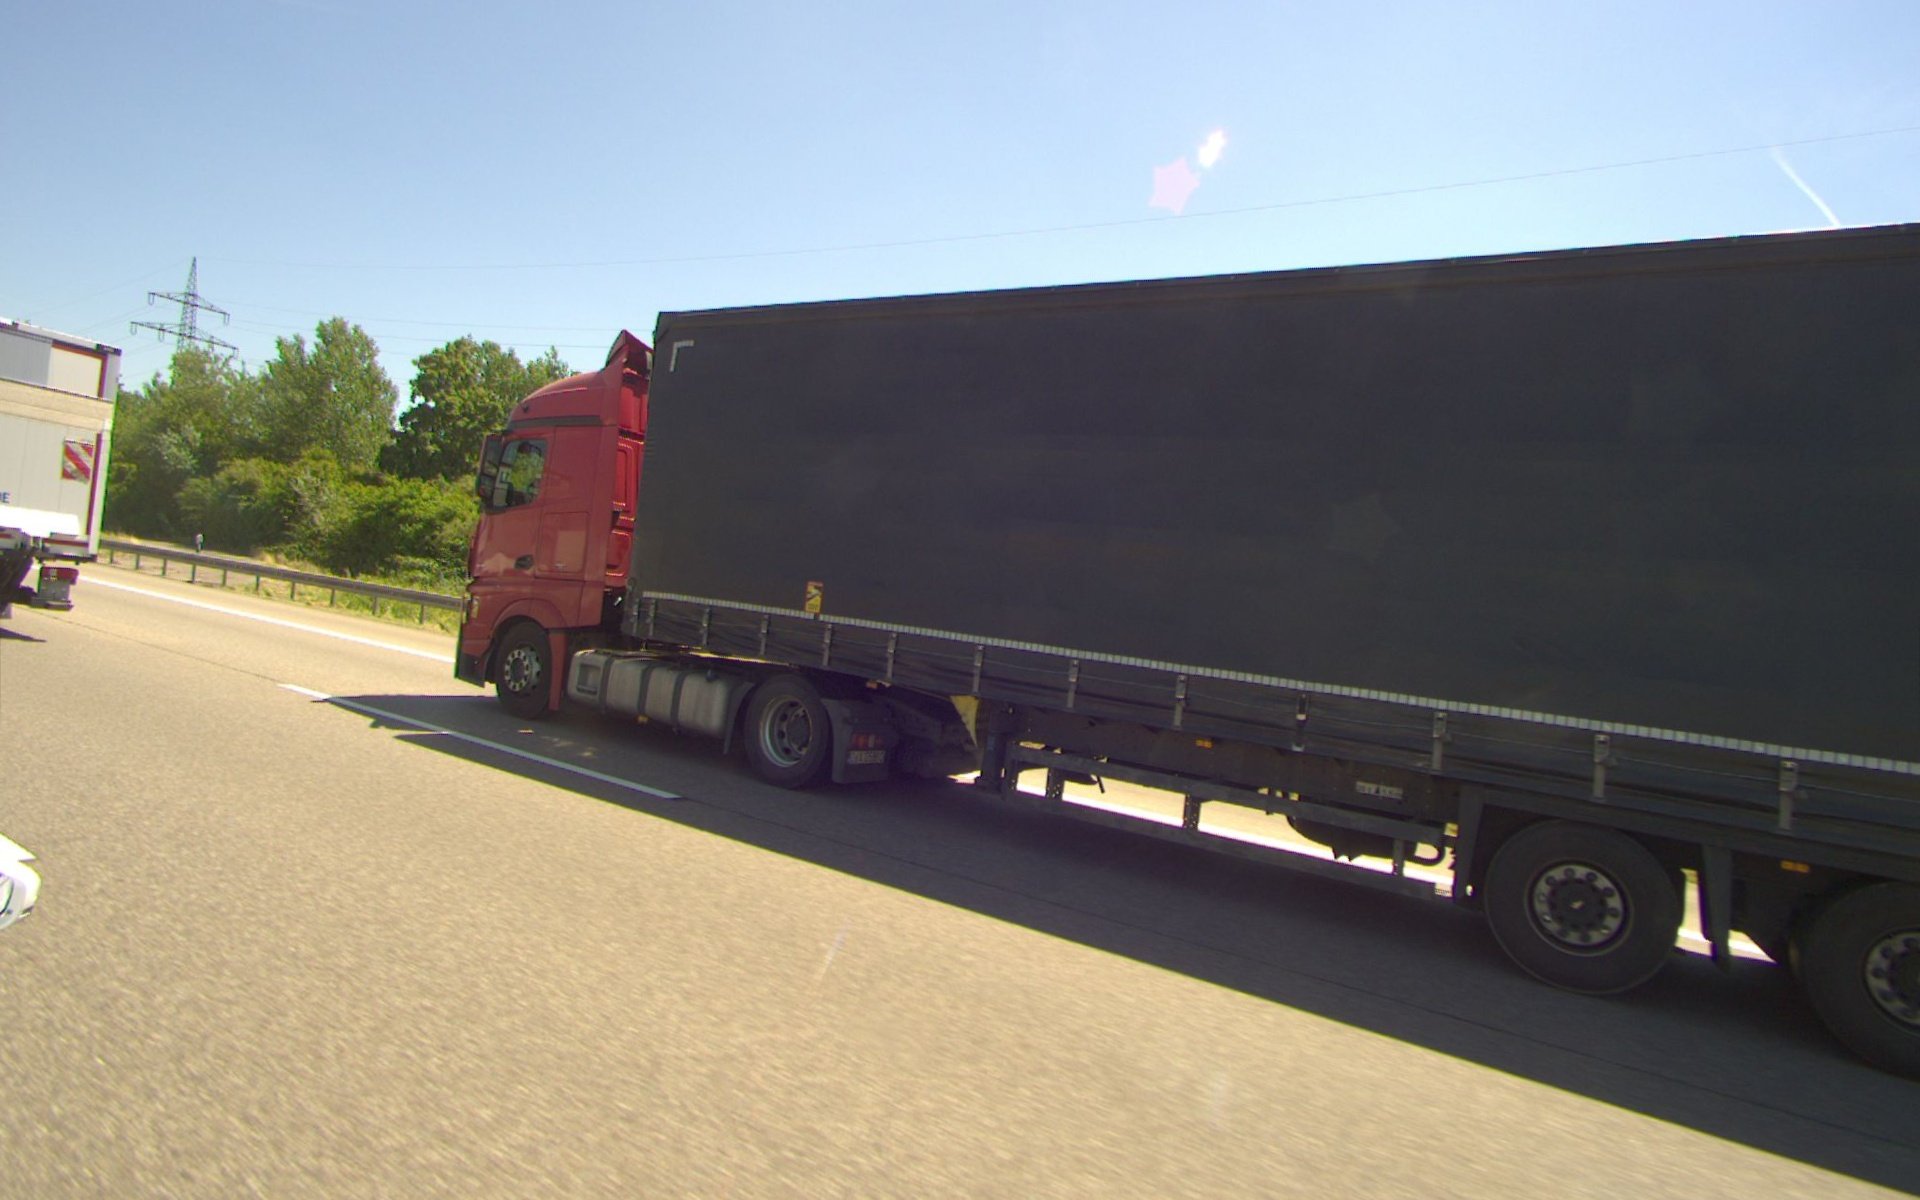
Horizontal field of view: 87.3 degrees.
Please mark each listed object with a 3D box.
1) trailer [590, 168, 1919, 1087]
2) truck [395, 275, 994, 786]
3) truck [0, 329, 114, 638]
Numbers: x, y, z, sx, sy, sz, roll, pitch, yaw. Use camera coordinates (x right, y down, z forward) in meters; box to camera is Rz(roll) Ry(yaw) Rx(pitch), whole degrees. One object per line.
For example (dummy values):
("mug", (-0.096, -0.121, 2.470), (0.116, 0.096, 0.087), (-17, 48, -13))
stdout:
("trailer", (3.127, -0.022, 7.078), (13.350, 4.213, 2.793), (6, -1, 32))
("truck", (-2.980, -0.712, 10.937), (5.628, 4.213, 2.799), (7, -1, 32))
("truck", (-14.483, -1.740, 13.016), (7.993, 3.412, 2.787), (6, -1, 32))
